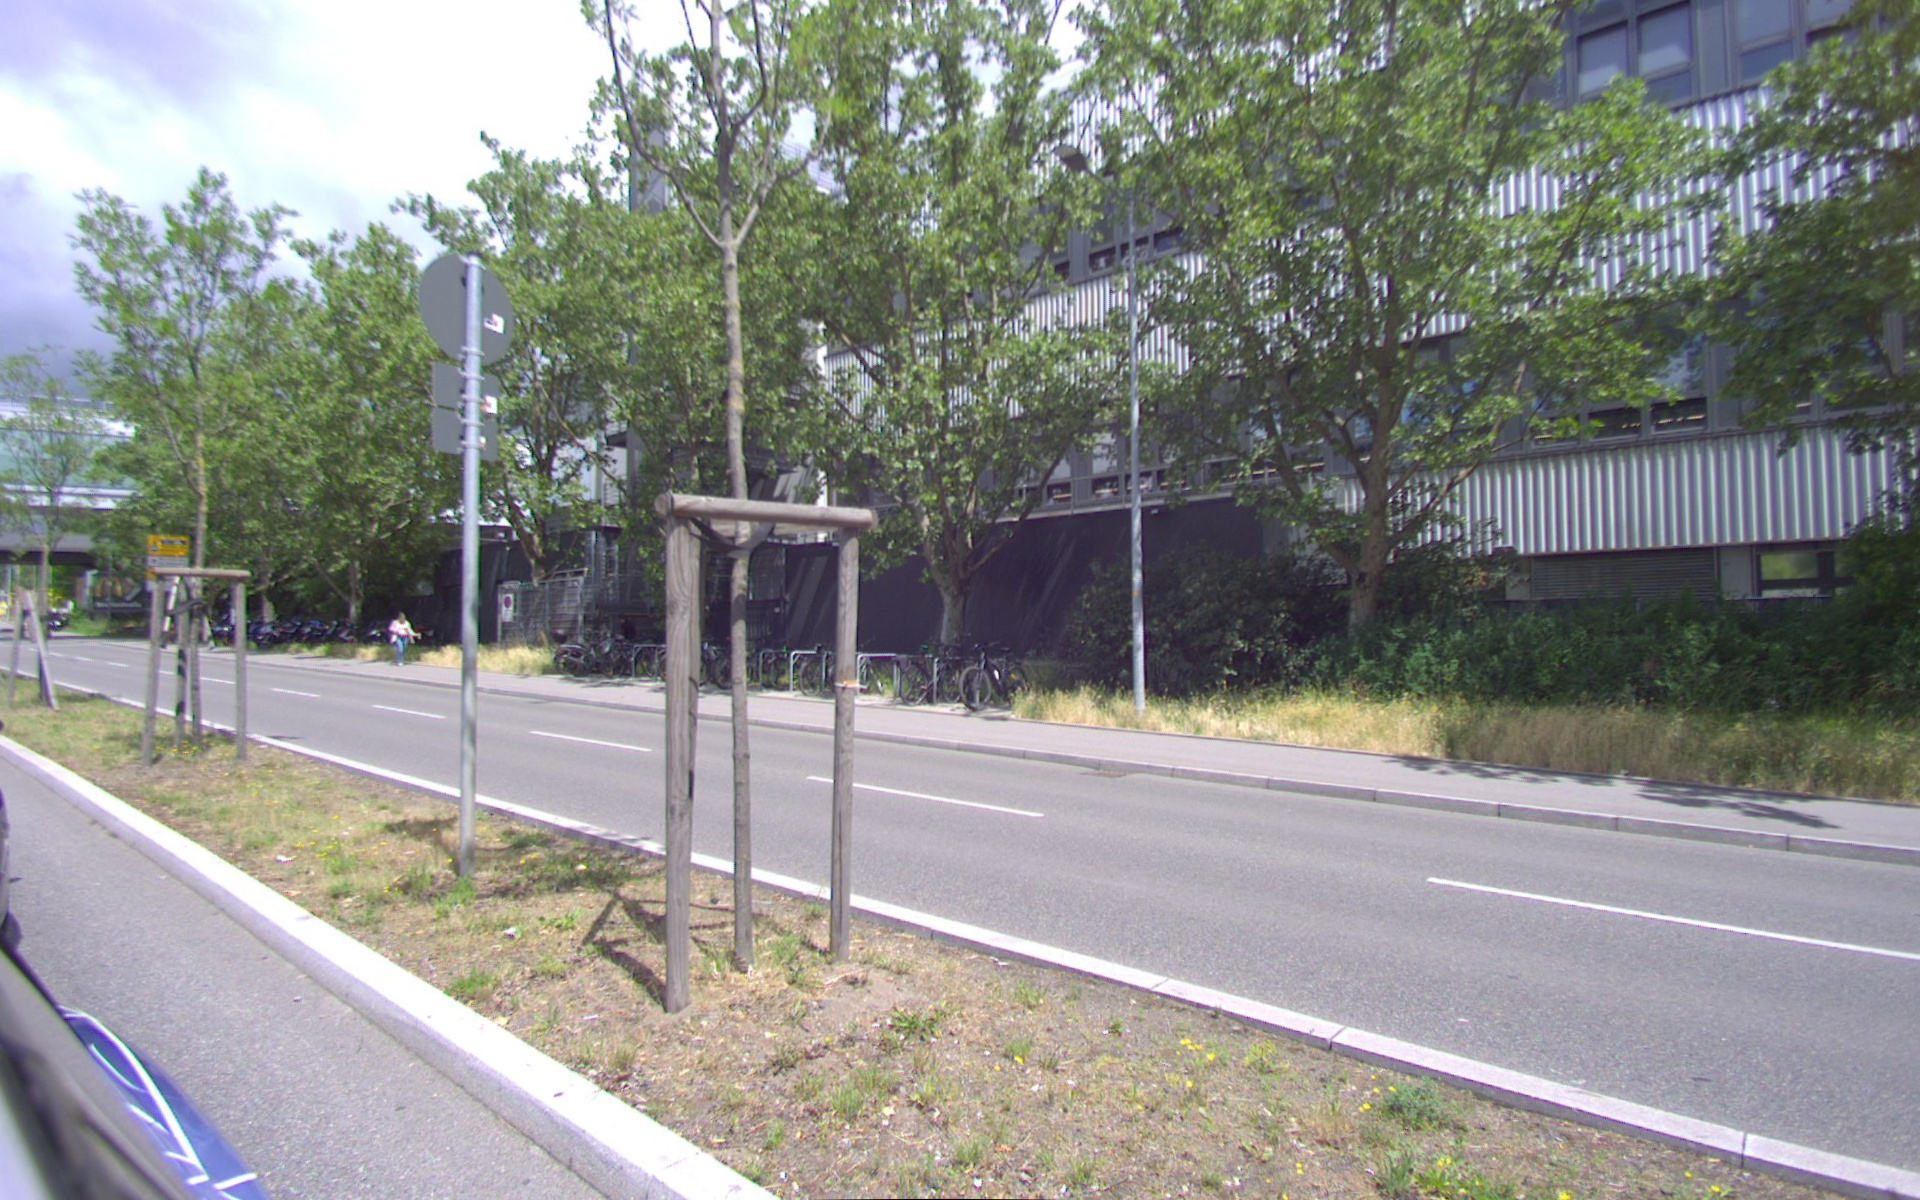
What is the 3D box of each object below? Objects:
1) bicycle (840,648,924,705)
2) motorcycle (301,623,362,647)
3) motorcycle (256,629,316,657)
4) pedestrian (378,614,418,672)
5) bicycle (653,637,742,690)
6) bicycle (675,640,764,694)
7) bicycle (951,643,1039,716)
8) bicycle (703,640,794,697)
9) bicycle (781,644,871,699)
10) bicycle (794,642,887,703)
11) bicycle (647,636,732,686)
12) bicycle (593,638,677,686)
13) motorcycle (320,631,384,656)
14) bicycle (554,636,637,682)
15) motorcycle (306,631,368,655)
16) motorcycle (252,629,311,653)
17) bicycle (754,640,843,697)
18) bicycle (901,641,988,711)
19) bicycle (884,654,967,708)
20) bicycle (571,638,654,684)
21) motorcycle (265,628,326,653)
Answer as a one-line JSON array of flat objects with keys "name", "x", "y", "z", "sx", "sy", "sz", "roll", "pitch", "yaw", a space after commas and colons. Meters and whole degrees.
[{"name": "bicycle", "x": -1.499, "y": 1.469, "z": 19.731, "sx": 0.381, "sy": 1.005, "sz": 1.968, "roll": -1, "pitch": -1, "yaw": 39}, {"name": "motorcycle", "x": -26.155, "y": 1.447, "z": 42.119, "sx": 0.534, "sy": 0.976, "sz": 2.105, "roll": -2, "pitch": -1, "yaw": 41}, {"name": "motorcycle", "x": -29.306, "y": 1.855, "z": 44.049, "sx": 0.534, "sy": 1.146, "sz": 2.105, "roll": -2, "pitch": -1, "yaw": 41}, {"name": "pedestrian", "x": -17.153, "y": 1.308, "z": 30.890, "sx": 0.672, "sy": 1.734, "sz": 0.888, "roll": -1, "pitch": -2, "yaw": 41}, {"name": "bicycle", "x": -6.020, "y": 1.437, "z": 23.290, "sx": 0.382, "sy": 1.119, "sz": 2.101, "roll": -2, "pitch": -1, "yaw": 43}, {"name": "bicycle", "x": -5.362, "y": 1.476, "z": 22.692, "sx": 0.382, "sy": 1.119, "sz": 2.101, "roll": -2, "pitch": -1, "yaw": 43}, {"name": "bicycle", "x": 0.630, "y": 1.335, "z": 17.422, "sx": 0.381, "sy": 1.137, "sz": 1.968, "roll": -1, "pitch": -1, "yaw": 39}, {"name": "bicycle", "x": -4.572, "y": 1.468, "z": 22.042, "sx": 0.382, "sy": 1.119, "sz": 2.101, "roll": -2, "pitch": -1, "yaw": 43}, {"name": "bicycle", "x": -2.773, "y": 1.470, "z": 21.161, "sx": 0.382, "sy": 1.038, "sz": 2.101, "roll": -2, "pitch": -1, "yaw": 43}, {"name": "bicycle", "x": -2.369, "y": 1.427, "z": 20.253, "sx": 0.382, "sy": 1.104, "sz": 2.101, "roll": -2, "pitch": -1, "yaw": 43}, {"name": "bicycle", "x": -6.510, "y": 1.447, "z": 24.440, "sx": 0.382, "sy": 1.119, "sz": 2.101, "roll": -2, "pitch": -1, "yaw": 43}, {"name": "bicycle", "x": -8.189, "y": 1.549, "z": 25.563, "sx": 0.382, "sy": 1.119, "sz": 2.101, "roll": -2, "pitch": -1, "yaw": 43}, {"name": "motorcycle", "x": -23.958, "y": 1.706, "z": 39.907, "sx": 0.534, "sy": 0.905, "sz": 2.105, "roll": -2, "pitch": -1, "yaw": 41}, {"name": "bicycle", "x": -9.575, "y": 1.532, "z": 26.657, "sx": 0.382, "sy": 1.119, "sz": 2.101, "roll": -2, "pitch": -1, "yaw": 43}, {"name": "motorcycle", "x": -25.492, "y": 1.752, "z": 41.457, "sx": 0.534, "sy": 0.892, "sz": 2.105, "roll": -2, "pitch": -1, "yaw": 41}, {"name": "motorcycle", "x": -30.173, "y": 1.818, "z": 45.019, "sx": 0.534, "sy": 0.976, "sz": 2.105, "roll": -2, "pitch": -1, "yaw": 41}, {"name": "bicycle", "x": -3.441, "y": 1.446, "z": 21.775, "sx": 0.382, "sy": 1.119, "sz": 2.101, "roll": -2, "pitch": -1, "yaw": 43}, {"name": "bicycle", "x": -0.249, "y": 1.330, "z": 18.144, "sx": 0.381, "sy": 1.137, "sz": 1.968, "roll": -1, "pitch": -1, "yaw": 39}, {"name": "bicycle", "x": -0.627, "y": 1.515, "z": 19.246, "sx": 0.381, "sy": 0.897, "sz": 1.968, "roll": -1, "pitch": -1, "yaw": 39}, {"name": "bicycle", "x": -8.934, "y": 1.552, "z": 26.111, "sx": 0.382, "sy": 1.119, "sz": 2.101, "roll": -2, "pitch": -1, "yaw": 43}, {"name": "motorcycle", "x": -28.274, "y": 1.710, "z": 43.097, "sx": 0.534, "sy": 0.976, "sz": 2.105, "roll": -2, "pitch": -1, "yaw": 41}]
